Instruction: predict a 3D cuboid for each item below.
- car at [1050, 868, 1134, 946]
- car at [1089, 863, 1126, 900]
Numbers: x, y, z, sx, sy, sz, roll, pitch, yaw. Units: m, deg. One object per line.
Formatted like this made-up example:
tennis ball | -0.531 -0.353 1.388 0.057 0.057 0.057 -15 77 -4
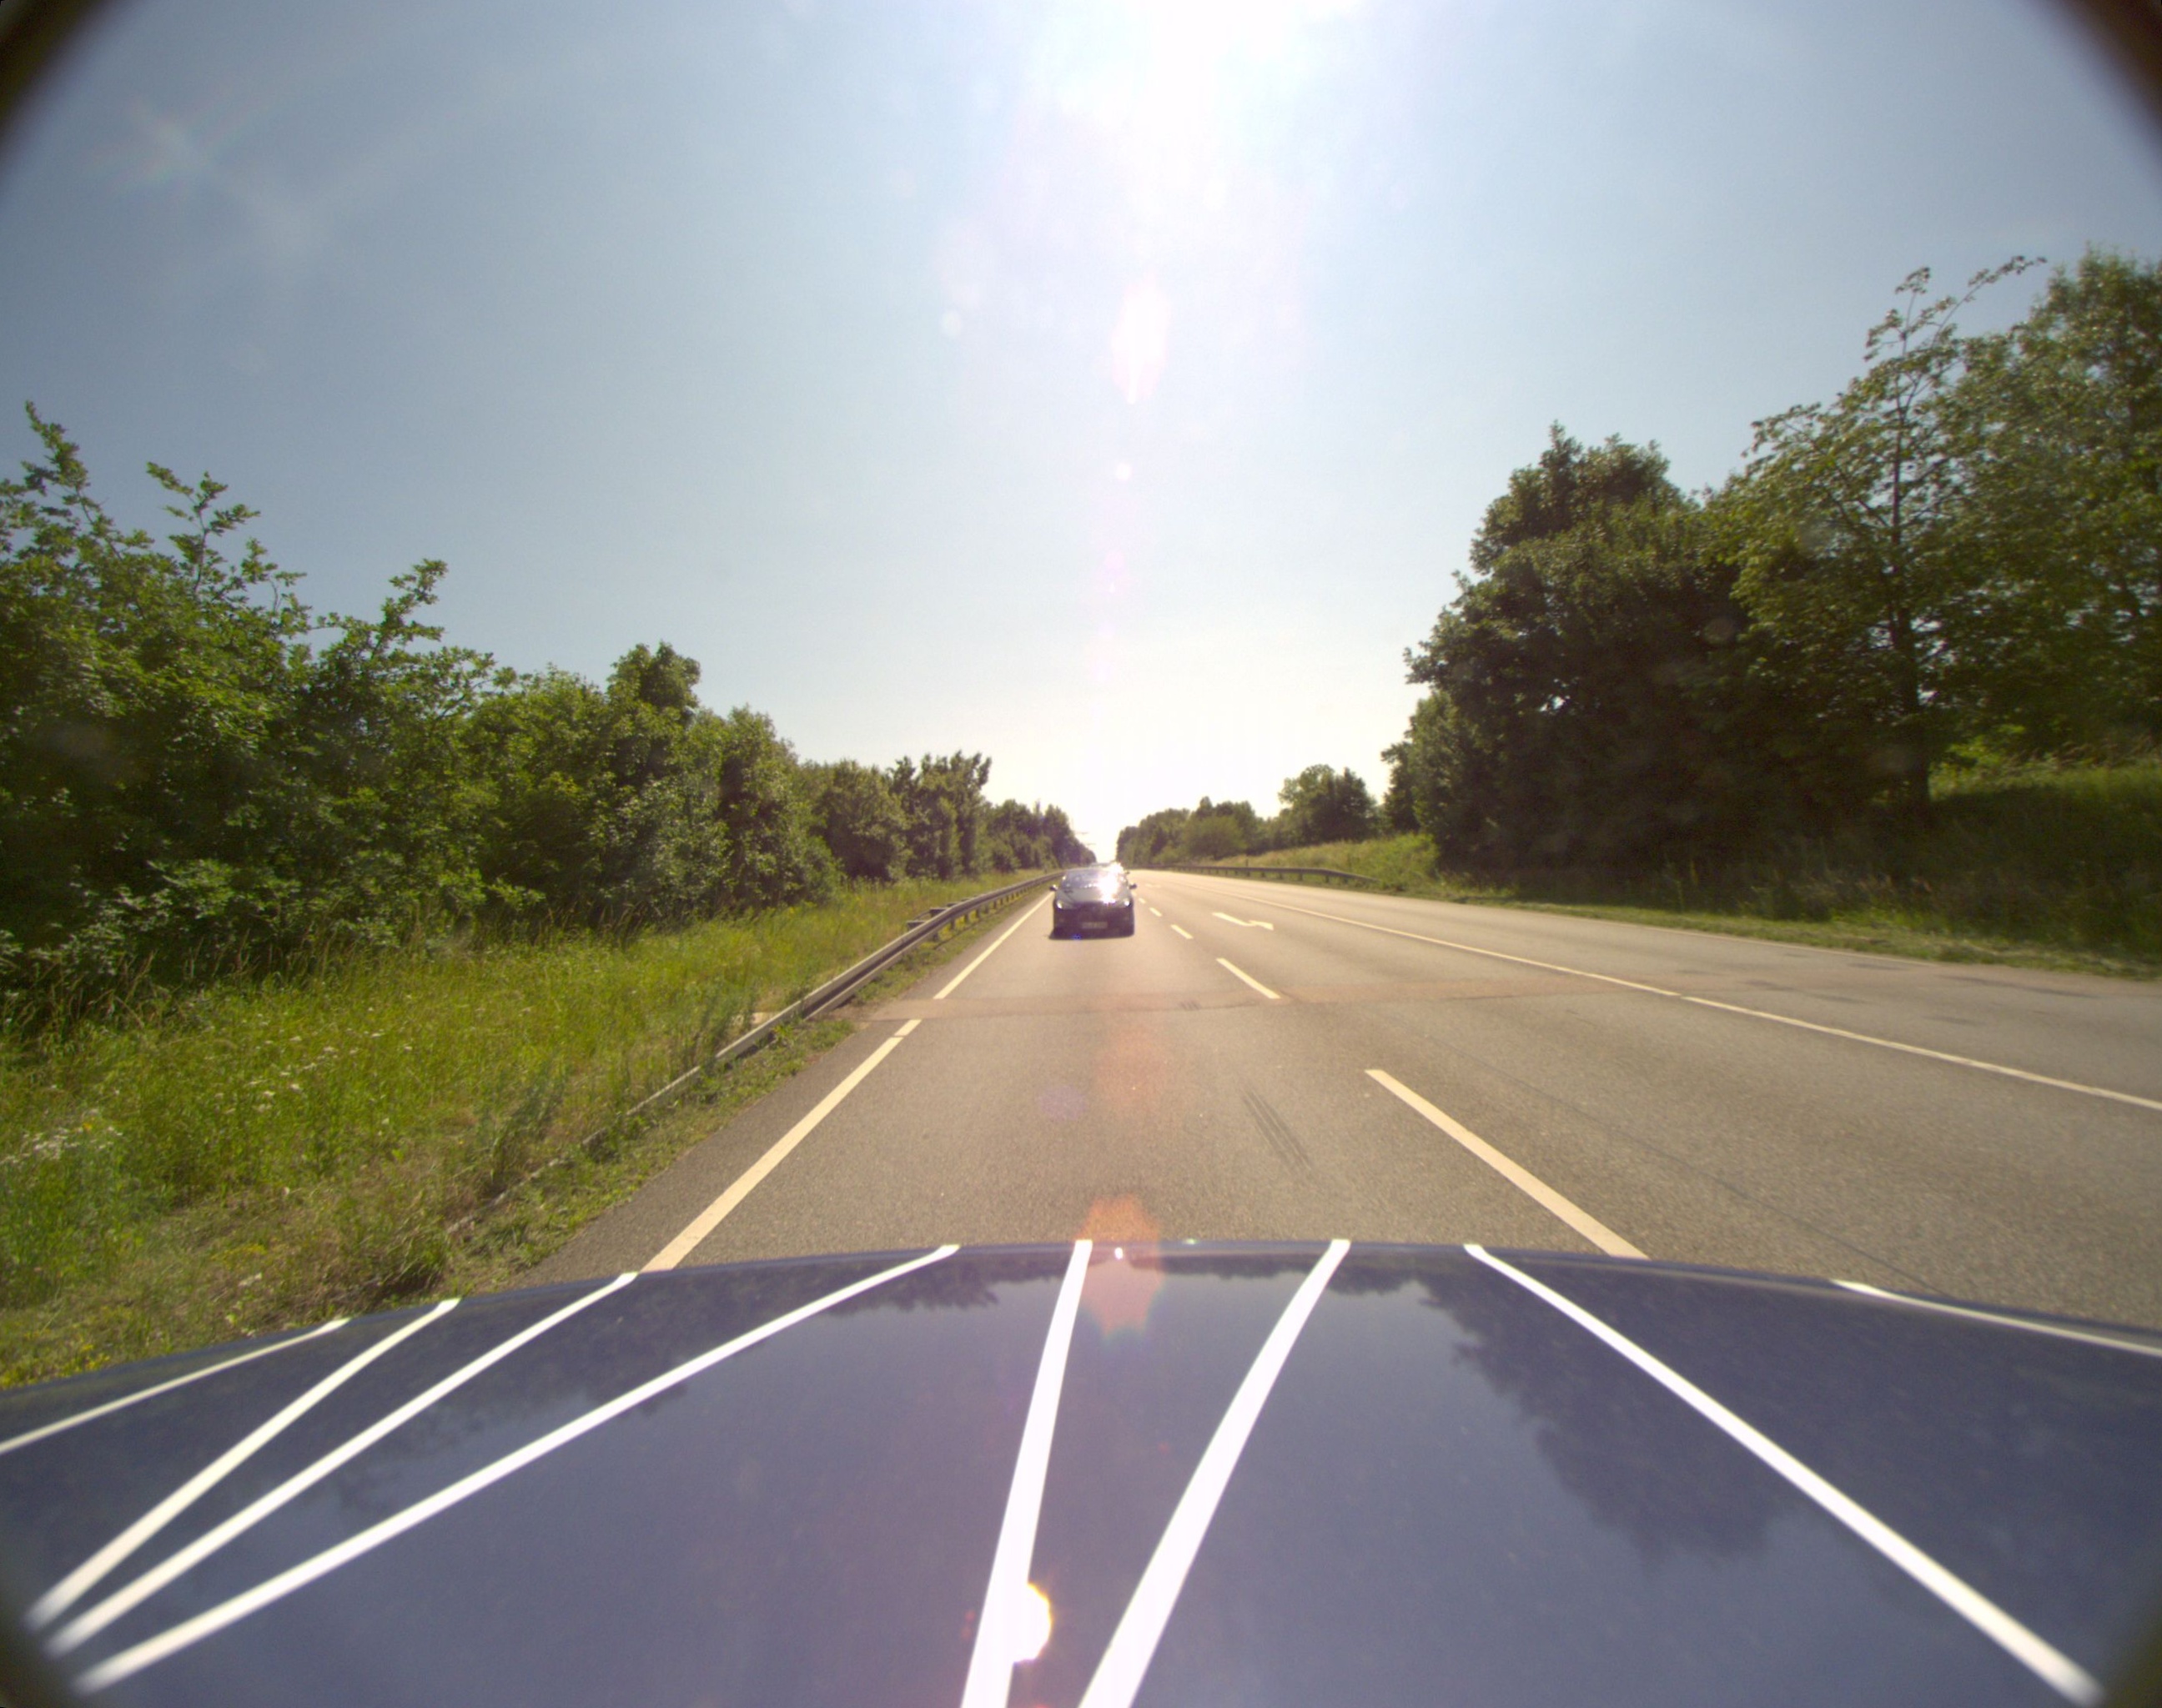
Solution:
car | 0.265 1.032 16.036 1.529 1.387 3.444 -2 0 2
car | 1.114 1.143 32.810 1.443 1.443 3.298 -2 0 0
